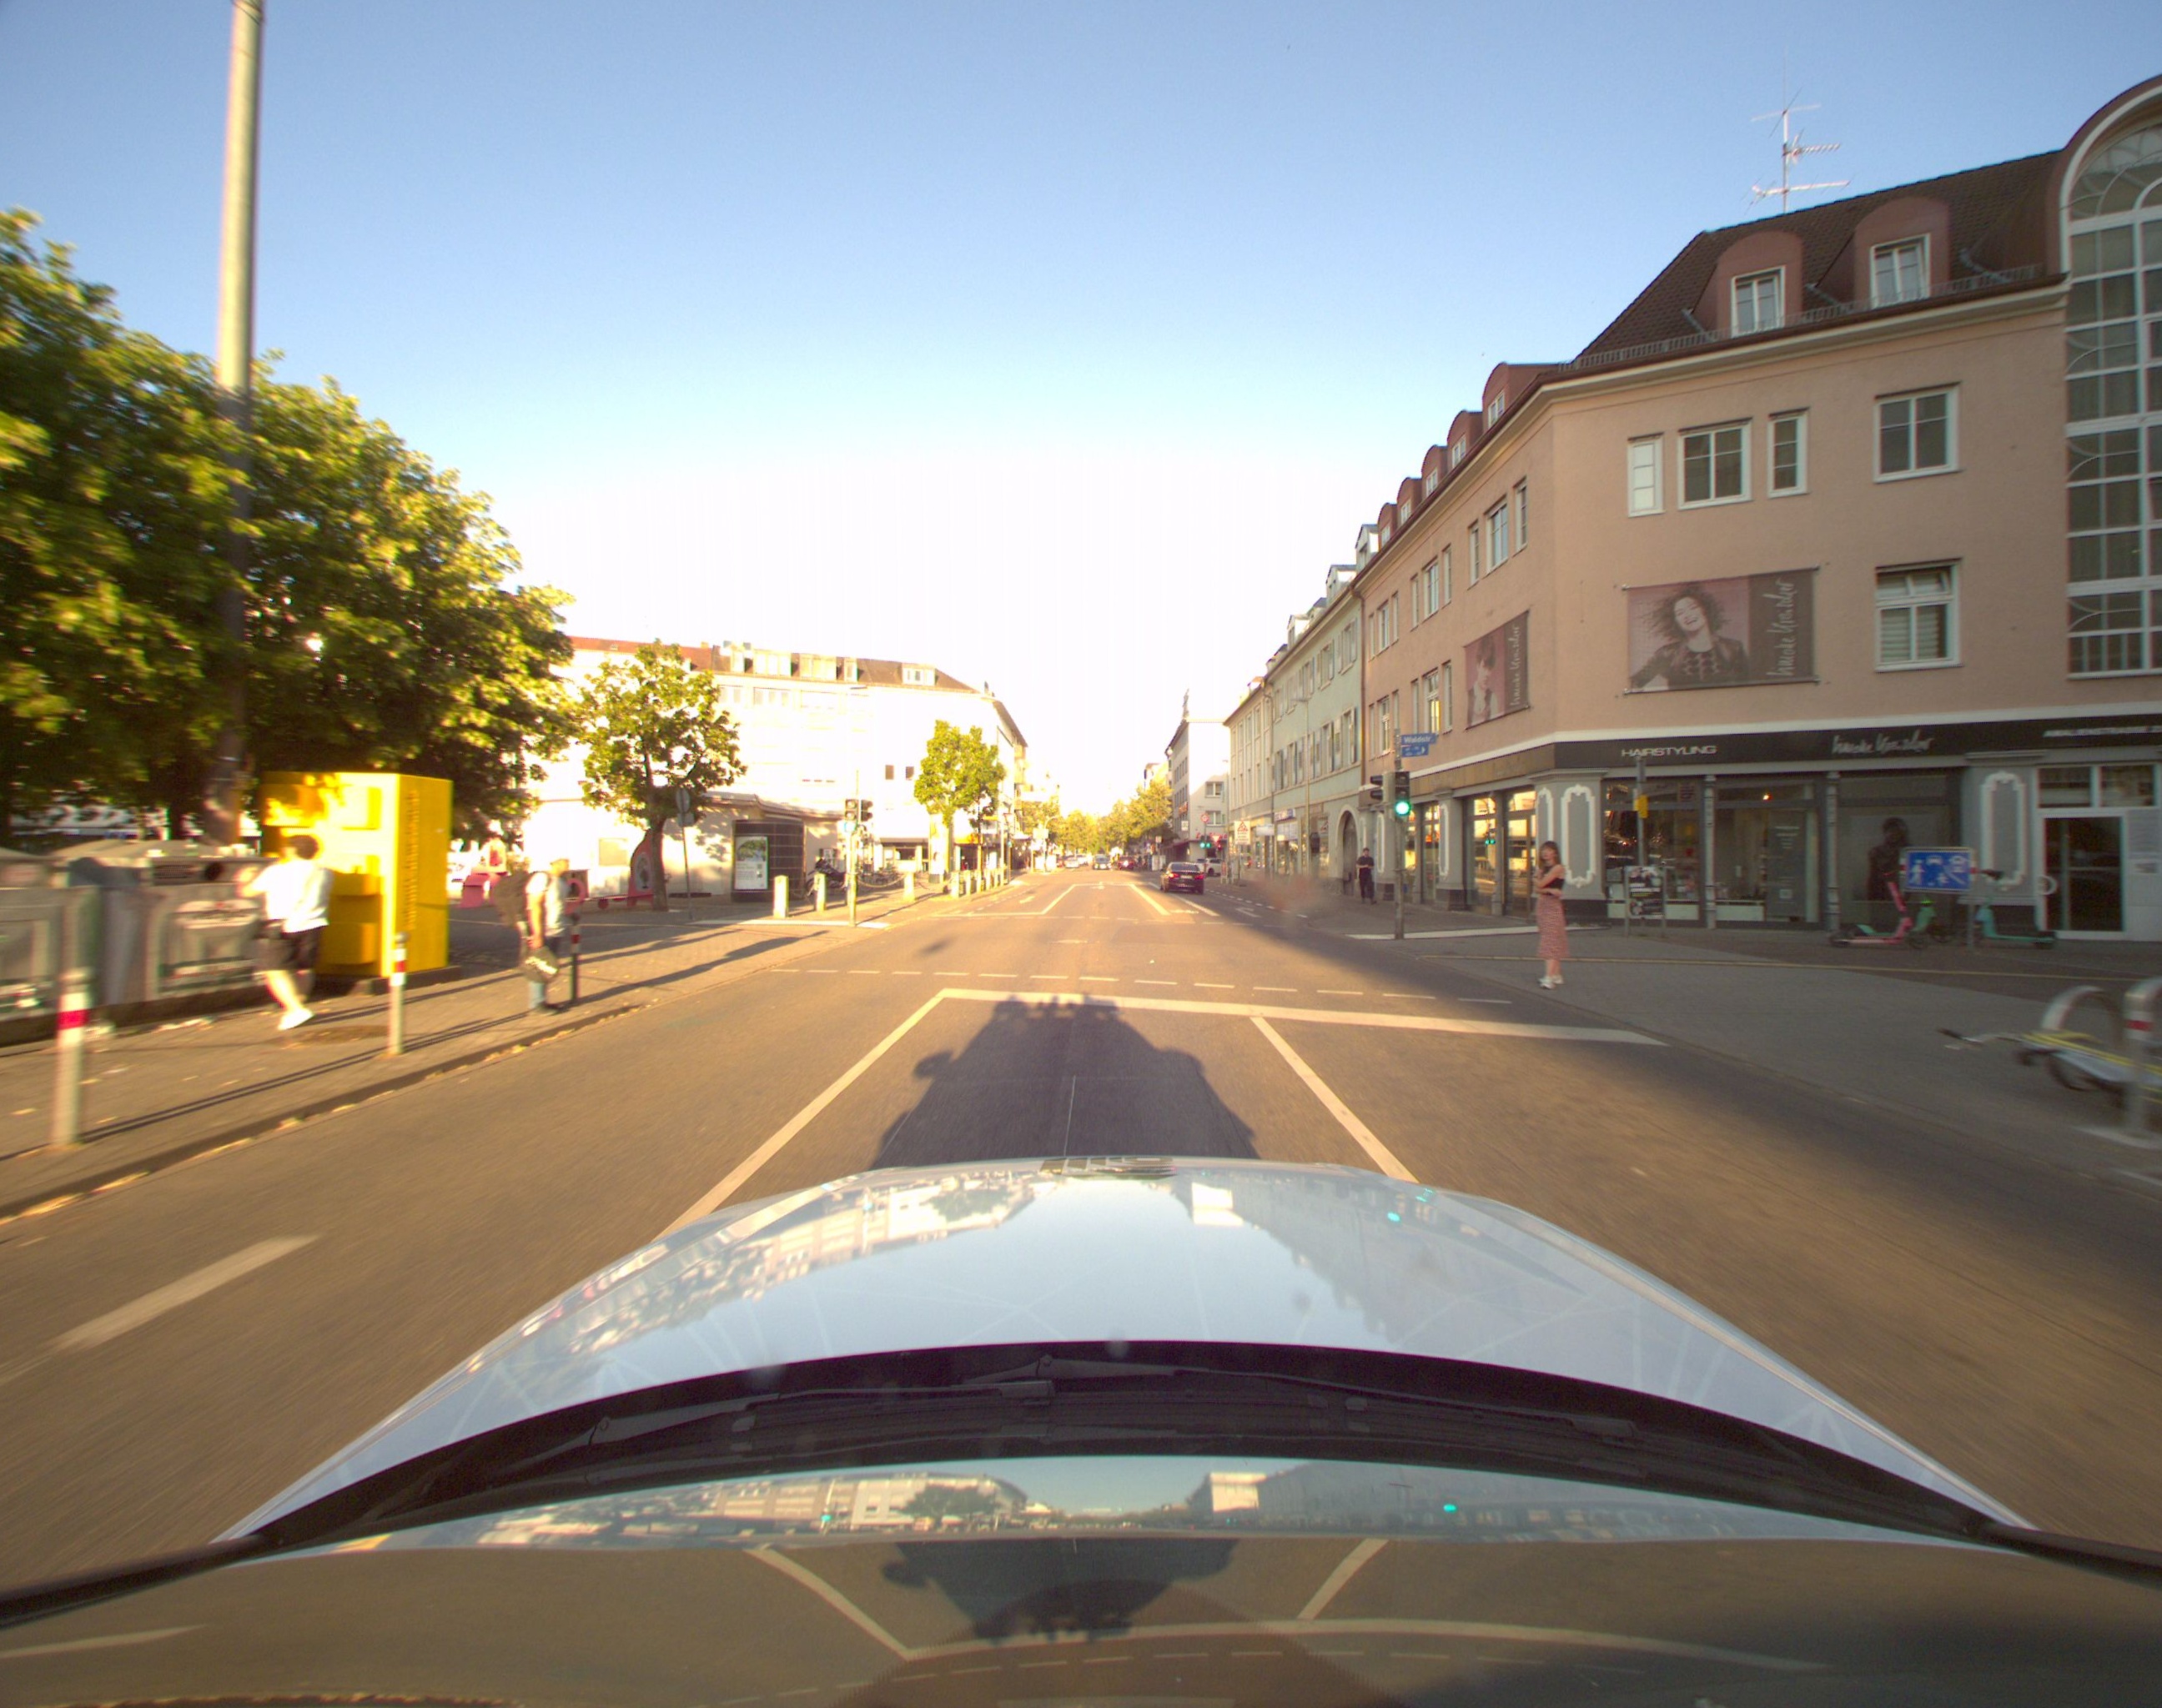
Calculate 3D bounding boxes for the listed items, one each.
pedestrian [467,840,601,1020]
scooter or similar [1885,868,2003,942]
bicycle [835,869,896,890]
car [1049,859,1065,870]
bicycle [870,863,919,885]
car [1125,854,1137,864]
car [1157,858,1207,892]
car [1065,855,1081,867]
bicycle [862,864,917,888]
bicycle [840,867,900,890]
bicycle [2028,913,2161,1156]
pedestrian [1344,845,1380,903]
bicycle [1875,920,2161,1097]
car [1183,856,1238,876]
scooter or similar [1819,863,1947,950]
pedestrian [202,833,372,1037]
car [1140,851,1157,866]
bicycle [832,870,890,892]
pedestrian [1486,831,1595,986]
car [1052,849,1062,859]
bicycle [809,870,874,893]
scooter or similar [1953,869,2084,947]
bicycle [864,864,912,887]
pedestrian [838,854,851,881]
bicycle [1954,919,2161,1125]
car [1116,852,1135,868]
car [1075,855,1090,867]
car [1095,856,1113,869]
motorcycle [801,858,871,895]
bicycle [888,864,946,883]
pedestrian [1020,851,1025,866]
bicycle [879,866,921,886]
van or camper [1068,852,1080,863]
[{"bbox_3d":[-5.472,0.729,8.202,0.882,1.720,0.713,0,0,-10],"label":"pedestrian"},{"bbox_3d":[14.214,0.825,13.441,1.309,1.164,0.525,0,0,8],"label":"scooter or similar"},{"bbox_3d":[-9.581,1.147,36.312,2.516,0.919,0.700,0,0,-1],"label":"bicycle"},{"bbox_3d":[-3.504,1.503,119.542,1.886,1.596,4.003,0,0,3],"label":"car"},{"bbox_3d":[-9.660,1.030,42.244,2.314,1.131,0.800,0,0,3],"label":"bicycle"},{"bbox_3d":[8.407,0.808,138.149,1.776,1.596,3.632,0,0,-1],"label":"car"},{"bbox_3d":[4.688,0.949,38.254,1.882,1.492,4.205,0,0,1],"label":"car"},{"bbox_3d":[-1.041,0.895,106.980,1.886,1.596,4.003,0,0,3],"label":"car"},{"bbox_3d":[-9.413,1.071,40.107,2.516,1.146,0.700,0,0,-1],"label":"bicycle"},{"bbox_3d":[-9.672,1.116,37.433,2.516,0.997,0.933,0,0,-1],"label":"bicycle"},{"bbox_3d":[6.052,0.880,4.047,1.879,1.112,0.761,0,0,-2],"label":"bicycle"},{"bbox_3d":[8.821,0.616,25.594,0.755,1.777,1.047,0,0,-3],"label":"pedestrian"},{"bbox_3d":[5.990,0.950,5.139,1.495,1.015,0.512,0,0,-1],"label":"bicycle"},{"bbox_3d":[10.436,0.940,65.544,3.910,1.604,2.316,0,0,-35],"label":"car"},{"bbox_3d":[12.353,0.787,12.581,1.305,1.264,0.527,0,0,23],"label":"scooter or similar"},{"bbox_3d":[-7.142,0.681,7.381,0.872,1.720,0.754,0,0,-24],"label":"pedestrian"},{"bbox_3d":[8.359,0.579,101.322,1.986,1.779,4.002,0,0,2],"label":"car"},{"bbox_3d":[-9.526,1.153,35.317,2.320,0.919,0.700,0,0,-1],"label":"bicycle"},{"bbox_3d":[5.353,0.609,9.528,0.793,1.720,0.810,0,0,-6],"label":"pedestrian"},{"bbox_3d":[-4.915,-0.022,166.661,1.820,2.013,3.679,0,0,3],"label":"car"},{"bbox_3d":[-9.988,1.128,33.983,2.516,0.919,0.700,0,0,-1],"label":"bicycle"},{"bbox_3d":[14.672,0.830,12.777,1.307,1.164,0.511,0,0,13],"label":"scooter or similar"},{"bbox_3d":[-9.764,1.065,41.329,2.229,1.135,0.811,0,0,-1],"label":"bicycle"},{"bbox_3d":[-14.398,0.800,49.578,0.551,1.610,0.636,0,-1,-33],"label":"pedestrian"},{"bbox_3d":[5.982,0.922,4.651,1.496,1.026,0.512,-1,0,-3],"label":"bicycle"},{"bbox_3d":[4.941,0.642,90.452,1.986,1.750,4.002,0,0,2],"label":"car"},{"bbox_3d":[0.254,1.042,121.069,1.985,1.750,4.003,0,0,3],"label":"car"},{"bbox_3d":[2.604,0.946,91.960,1.877,1.486,4.003,0,0,3],"label":"car"},{"bbox_3d":[-9.622,0.873,32.091,2.405,1.426,1.113,0,0,0],"label":"motorcycle"},{"bbox_3d":[-8.939,1.080,44.455,2.929,1.022,0.844,0,0,4],"label":"bicycle"},{"bbox_3d":[-7.090,0.542,98.654,0.600,1.721,0.575,0,0,-13],"label":"pedestrian"},{"bbox_3d":[-9.674,1.165,43.593,2.083,1.063,0.682,0,0,2],"label":"bicycle"},{"bbox_3d":[-1.550,0.701,177.434,2.466,2.405,3.997,0,0,-2],"label":"van or camper"}]
